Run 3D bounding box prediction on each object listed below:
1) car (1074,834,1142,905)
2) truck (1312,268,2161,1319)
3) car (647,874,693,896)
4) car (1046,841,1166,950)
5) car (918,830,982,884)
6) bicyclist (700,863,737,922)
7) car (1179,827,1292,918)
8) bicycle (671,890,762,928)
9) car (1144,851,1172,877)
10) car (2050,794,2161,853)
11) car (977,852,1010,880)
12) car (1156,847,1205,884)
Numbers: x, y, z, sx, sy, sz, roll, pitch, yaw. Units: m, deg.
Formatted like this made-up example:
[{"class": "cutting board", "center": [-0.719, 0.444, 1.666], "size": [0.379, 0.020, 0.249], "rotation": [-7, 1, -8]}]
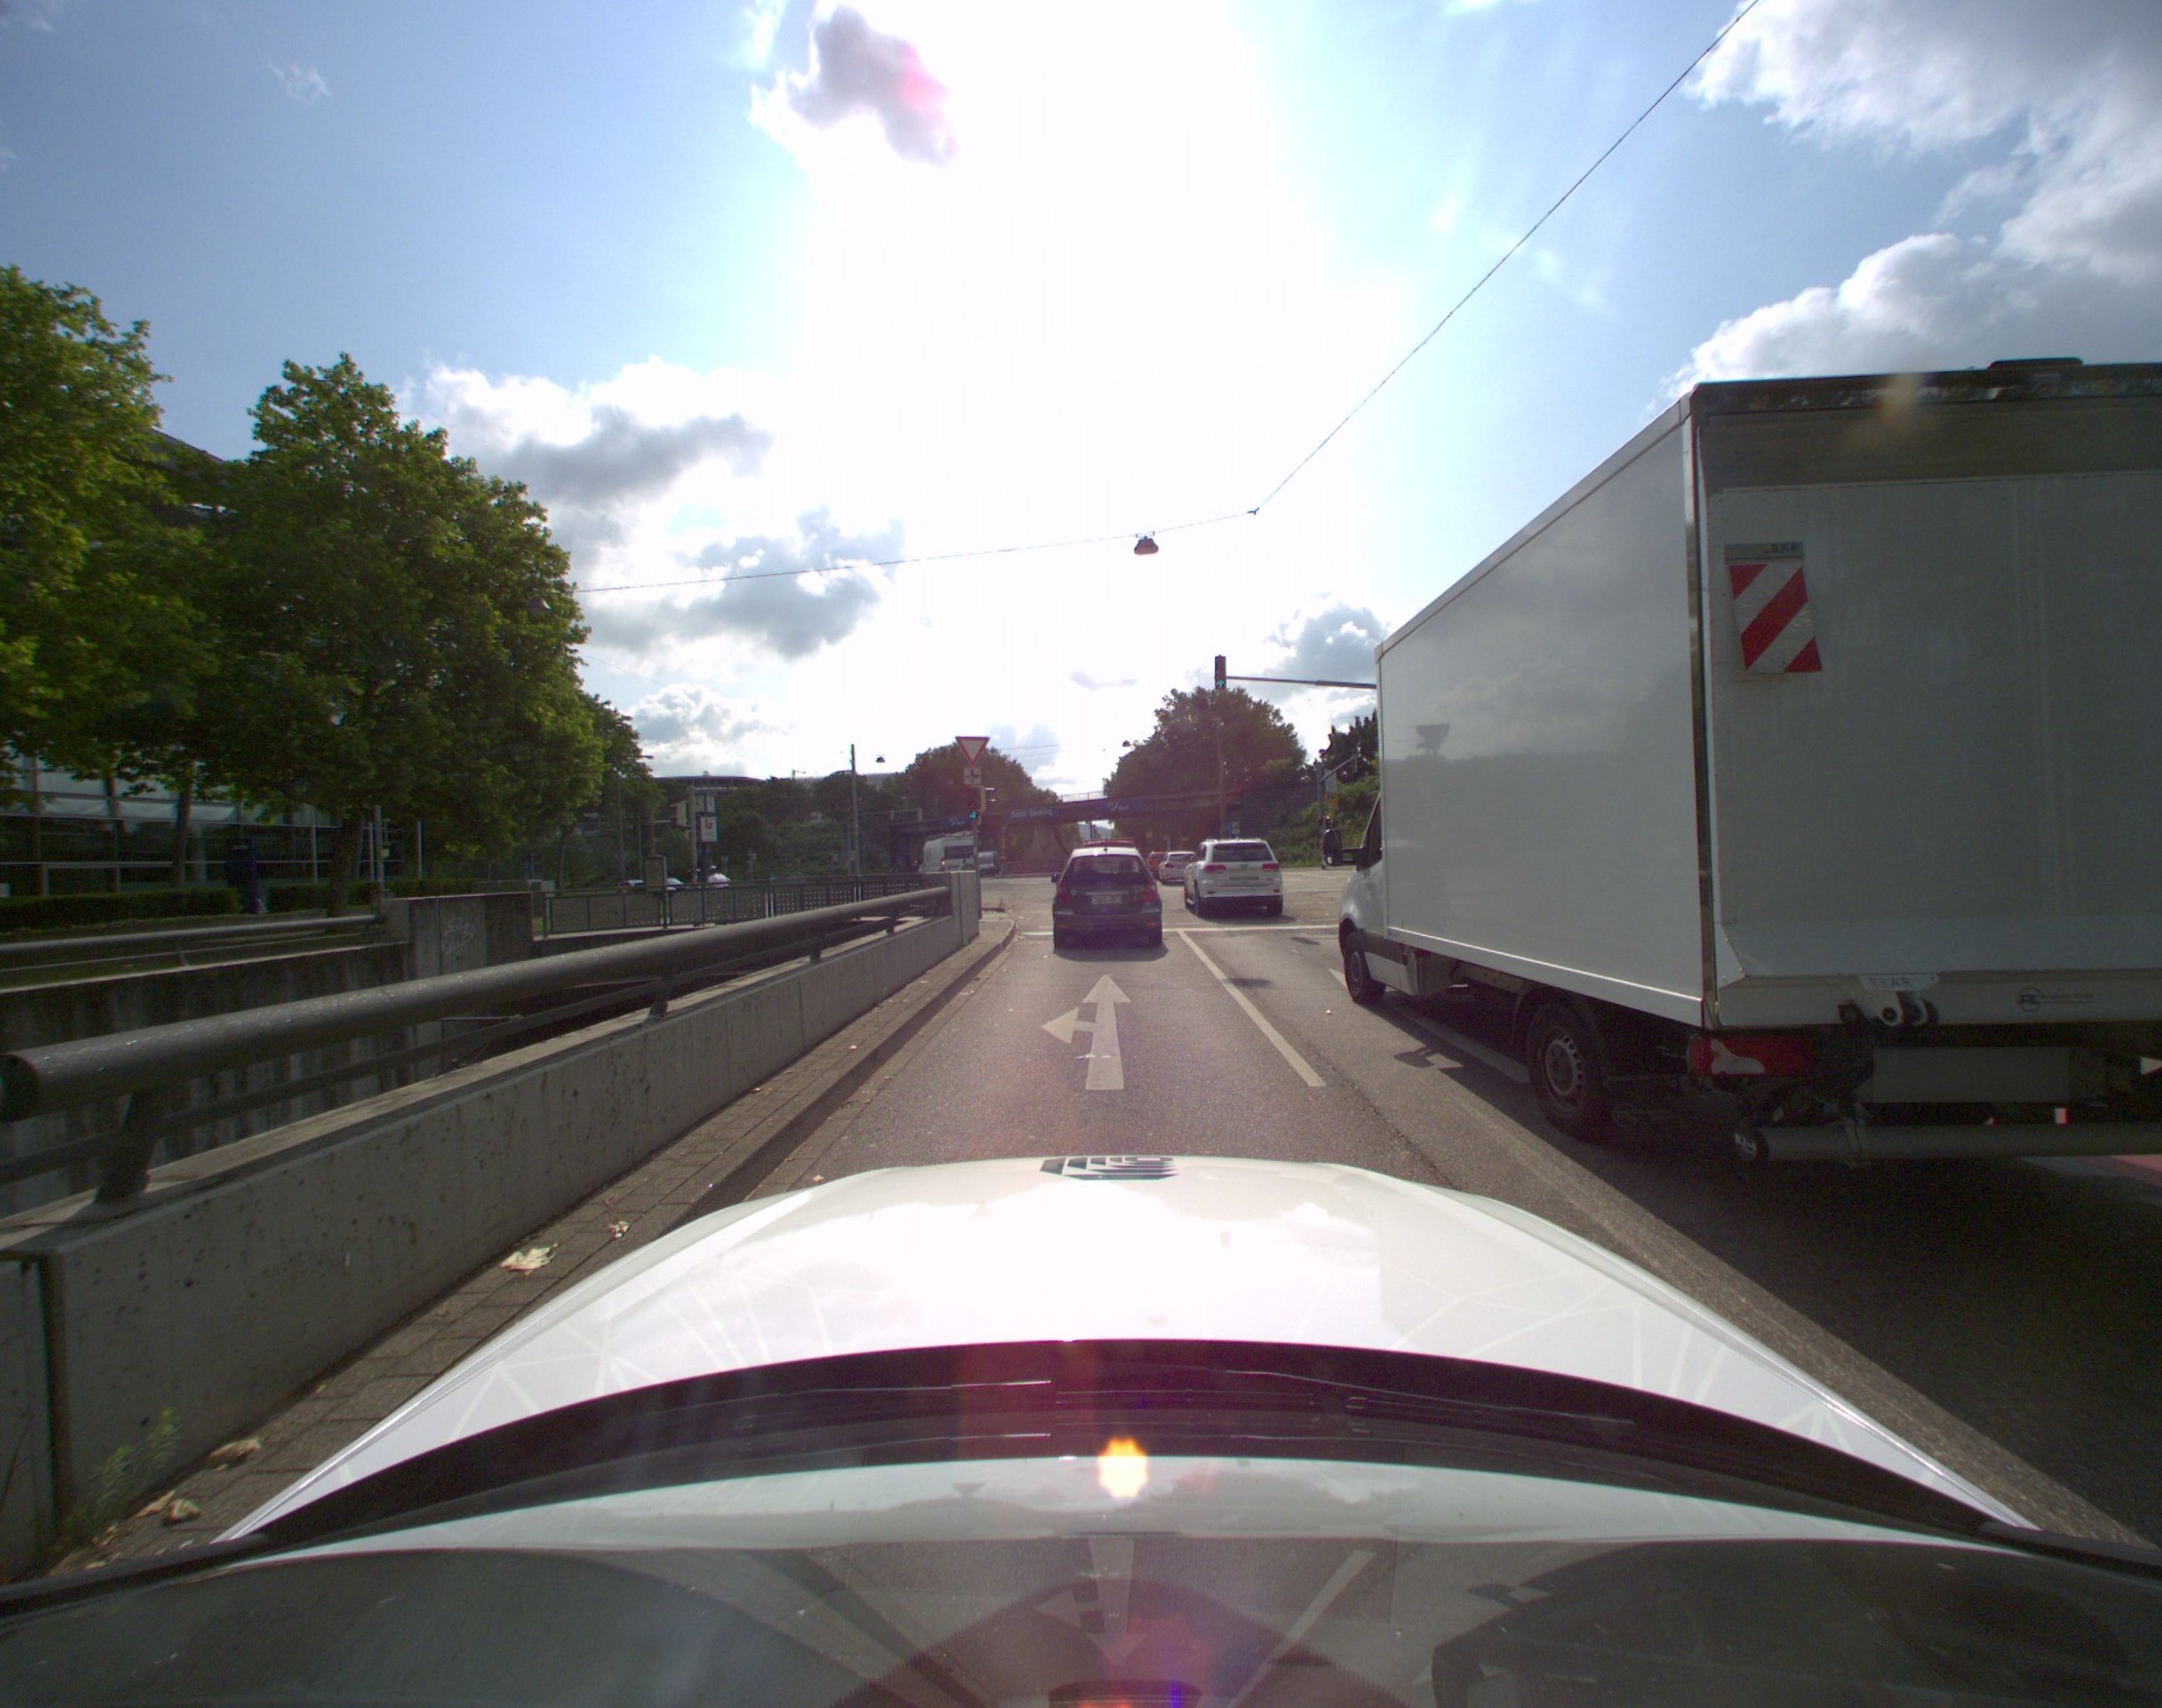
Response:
[{"class": "car", "center": [0.877, 0.451, 26.077], "size": [1.948, 2.017, 4.679], "rotation": [-1, 0, 2]}, {"class": "truck", "center": [3.482, -0.174, 5.426], "size": [2.436, 3.121, 6.033], "rotation": [-2, -1, 4]}, {"class": "car", "center": [-34.714, 2.625, 68.749], "size": [4.305, 1.587, 1.724], "rotation": [-6, -3, 38]}, {"class": "car", "center": [0.452, 0.625, 14.282], "size": [1.785, 1.608, 3.801], "rotation": [-1, 0, 2]}, {"class": "car", "center": [-7.073, 0.209, 43.521], "size": [2.208, 2.726, 4.891], "rotation": [-1, -1, -24]}, {"class": "bicyclist", "center": [-8.931, 0.941, 20.078], "size": [0.507, 1.404, 0.627], "rotation": [-3, -1, 6]}, {"class": "car", "center": [3.561, 0.391, 19.623], "size": [1.987, 1.901, 4.511], "rotation": [-1, 0, 2]}, {"class": "bicycle", "center": [-8.976, 1.356, 20.079], "size": [1.962, 0.826, 0.613], "rotation": [-2, -1, 5]}, {"class": "car", "center": [4.864, 0.649, 51.526], "size": [1.538, 1.521, 3.618], "rotation": [-1, -1, 2]}, {"class": "car", "center": [32.730, -0.981, 24.214], "size": [4.741, 1.643, 1.832], "rotation": [-4, -1, 40]}, {"class": "car", "center": [-8.651, 1.173, 81.011], "size": [2.248, 2.526, 5.631], "rotation": [-3, -1, 3]}, {"class": "car", "center": [4.410, 0.525, 36.450], "size": [1.845, 1.521, 3.618], "rotation": [-1, -1, 2]}]
